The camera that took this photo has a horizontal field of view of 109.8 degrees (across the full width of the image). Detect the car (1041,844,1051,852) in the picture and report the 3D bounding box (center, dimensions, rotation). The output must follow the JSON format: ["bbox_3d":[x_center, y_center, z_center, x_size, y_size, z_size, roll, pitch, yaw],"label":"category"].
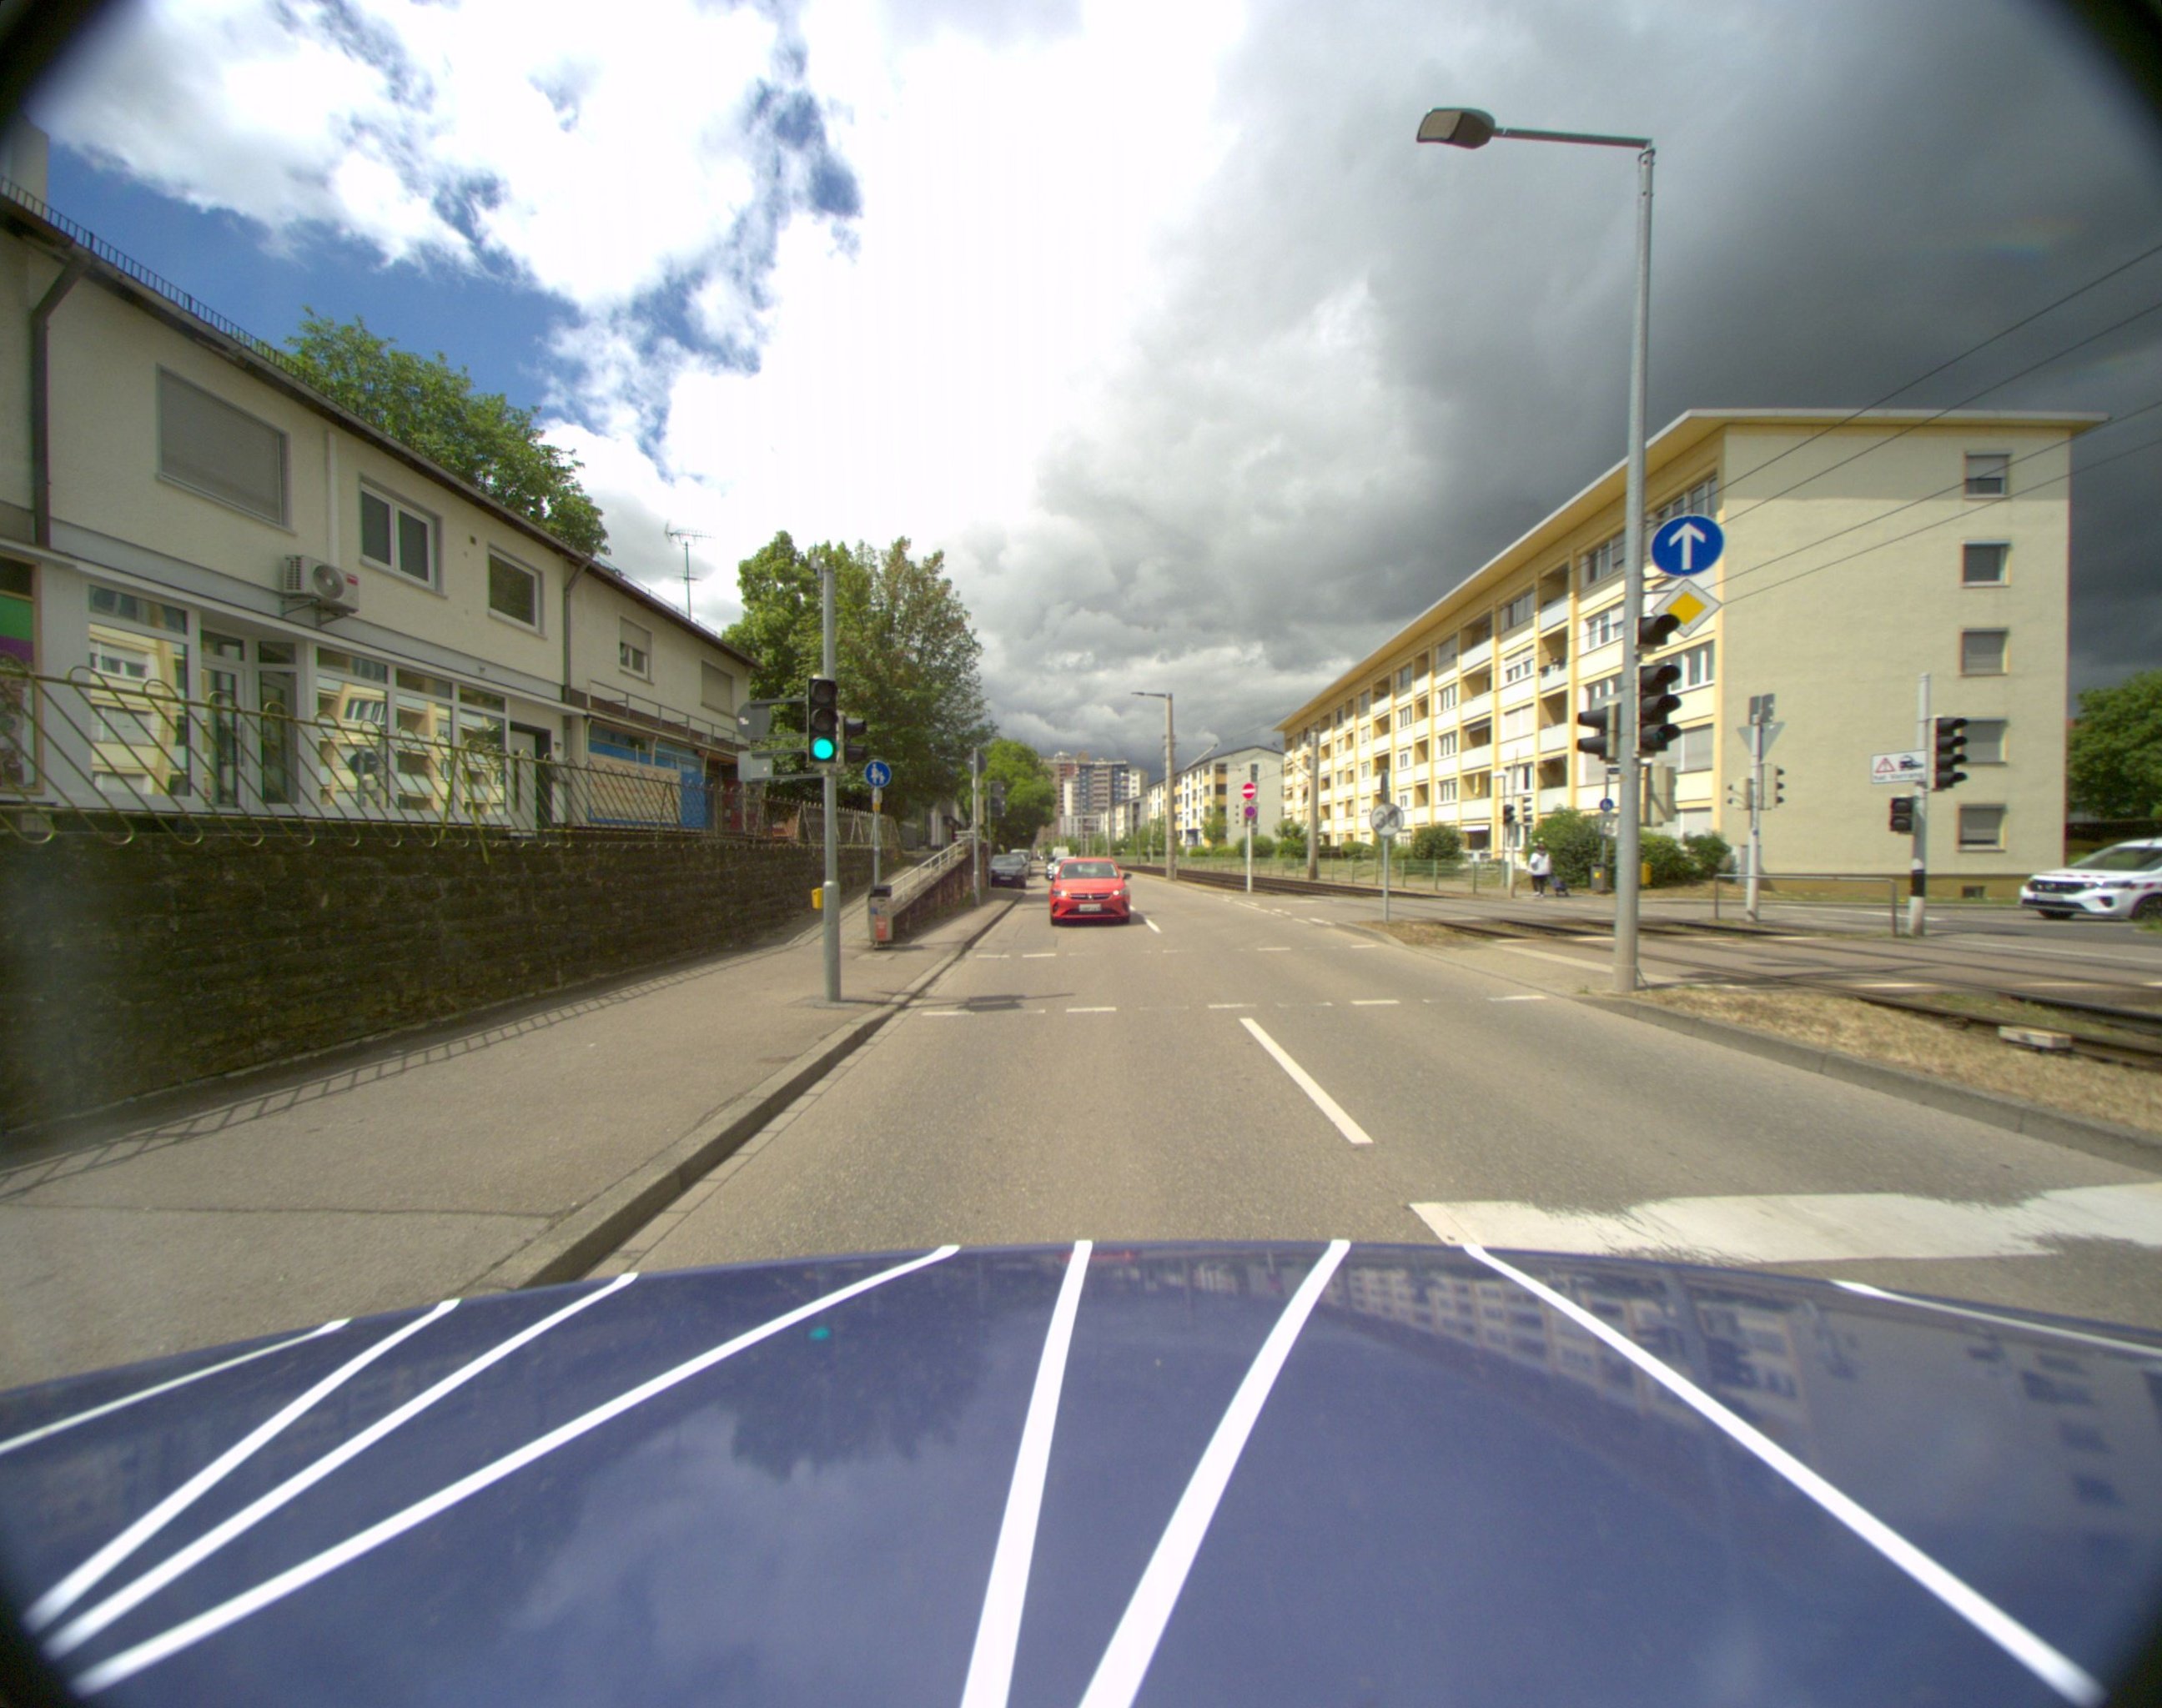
[{"bbox_3d":[-8.835,-1.507,191.579,2.237,2.051,4.360,0,1,-3],"label":"car"}]

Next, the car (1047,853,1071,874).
[{"bbox_3d":[-1.642,0.684,56.492,1.639,1.346,3.999,-2,1,-2],"label":"car"}]

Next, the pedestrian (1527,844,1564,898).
[{"bbox_3d":[14.065,0.500,23.038,0.605,1.598,0.773,1,1,-1],"label":"pedestrian"}]

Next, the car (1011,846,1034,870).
[{"bbox_3d":[-5.030,0.304,65.920,1.854,1.997,4.967,0,1,-3],"label":"car"}]

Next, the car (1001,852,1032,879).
[{"bbox_3d":[-3.967,0.698,47.377,1.760,1.559,4.173,1,0,-3],"label":"car"}]

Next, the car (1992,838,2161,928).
[{"bbox_3d":[22.037,0.548,15.540,4.286,1.719,1.810,-1,1,6],"label":"car"}]

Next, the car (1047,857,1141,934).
[{"bbox_3d":[0.175,0.849,17.408,1.783,1.434,4.129,-2,1,-3],"label":"car"}]

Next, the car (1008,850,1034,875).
[{"bbox_3d":[-4.212,0.545,53.809,1.760,1.706,3.998,0,1,-3],"label":"car"}]

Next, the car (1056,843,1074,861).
[{"bbox_3d":[-2.279,-0.338,106.289,2.237,2.460,5.084,0,1,-3],"label":"car"}]

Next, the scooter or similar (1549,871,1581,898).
[{"bbox_3d":[14.640,0.917,22.981,0.534,0.769,0.666,0,1,-1],"label":"scooter or similar"}]

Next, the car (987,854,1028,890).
[{"bbox_3d":[-3.332,0.786,35.063,1.760,1.570,4.020,0,1,-3],"label":"car"}]

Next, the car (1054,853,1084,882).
[{"bbox_3d":[-0.715,0.722,42.233,1.499,1.477,3.519,0,1,-3],"label":"car"}]

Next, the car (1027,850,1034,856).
[{"bbox_3d":[-16.317,-0.389,245.339,2.441,1.717,5.481,0,1,-3],"label":"car"}]
